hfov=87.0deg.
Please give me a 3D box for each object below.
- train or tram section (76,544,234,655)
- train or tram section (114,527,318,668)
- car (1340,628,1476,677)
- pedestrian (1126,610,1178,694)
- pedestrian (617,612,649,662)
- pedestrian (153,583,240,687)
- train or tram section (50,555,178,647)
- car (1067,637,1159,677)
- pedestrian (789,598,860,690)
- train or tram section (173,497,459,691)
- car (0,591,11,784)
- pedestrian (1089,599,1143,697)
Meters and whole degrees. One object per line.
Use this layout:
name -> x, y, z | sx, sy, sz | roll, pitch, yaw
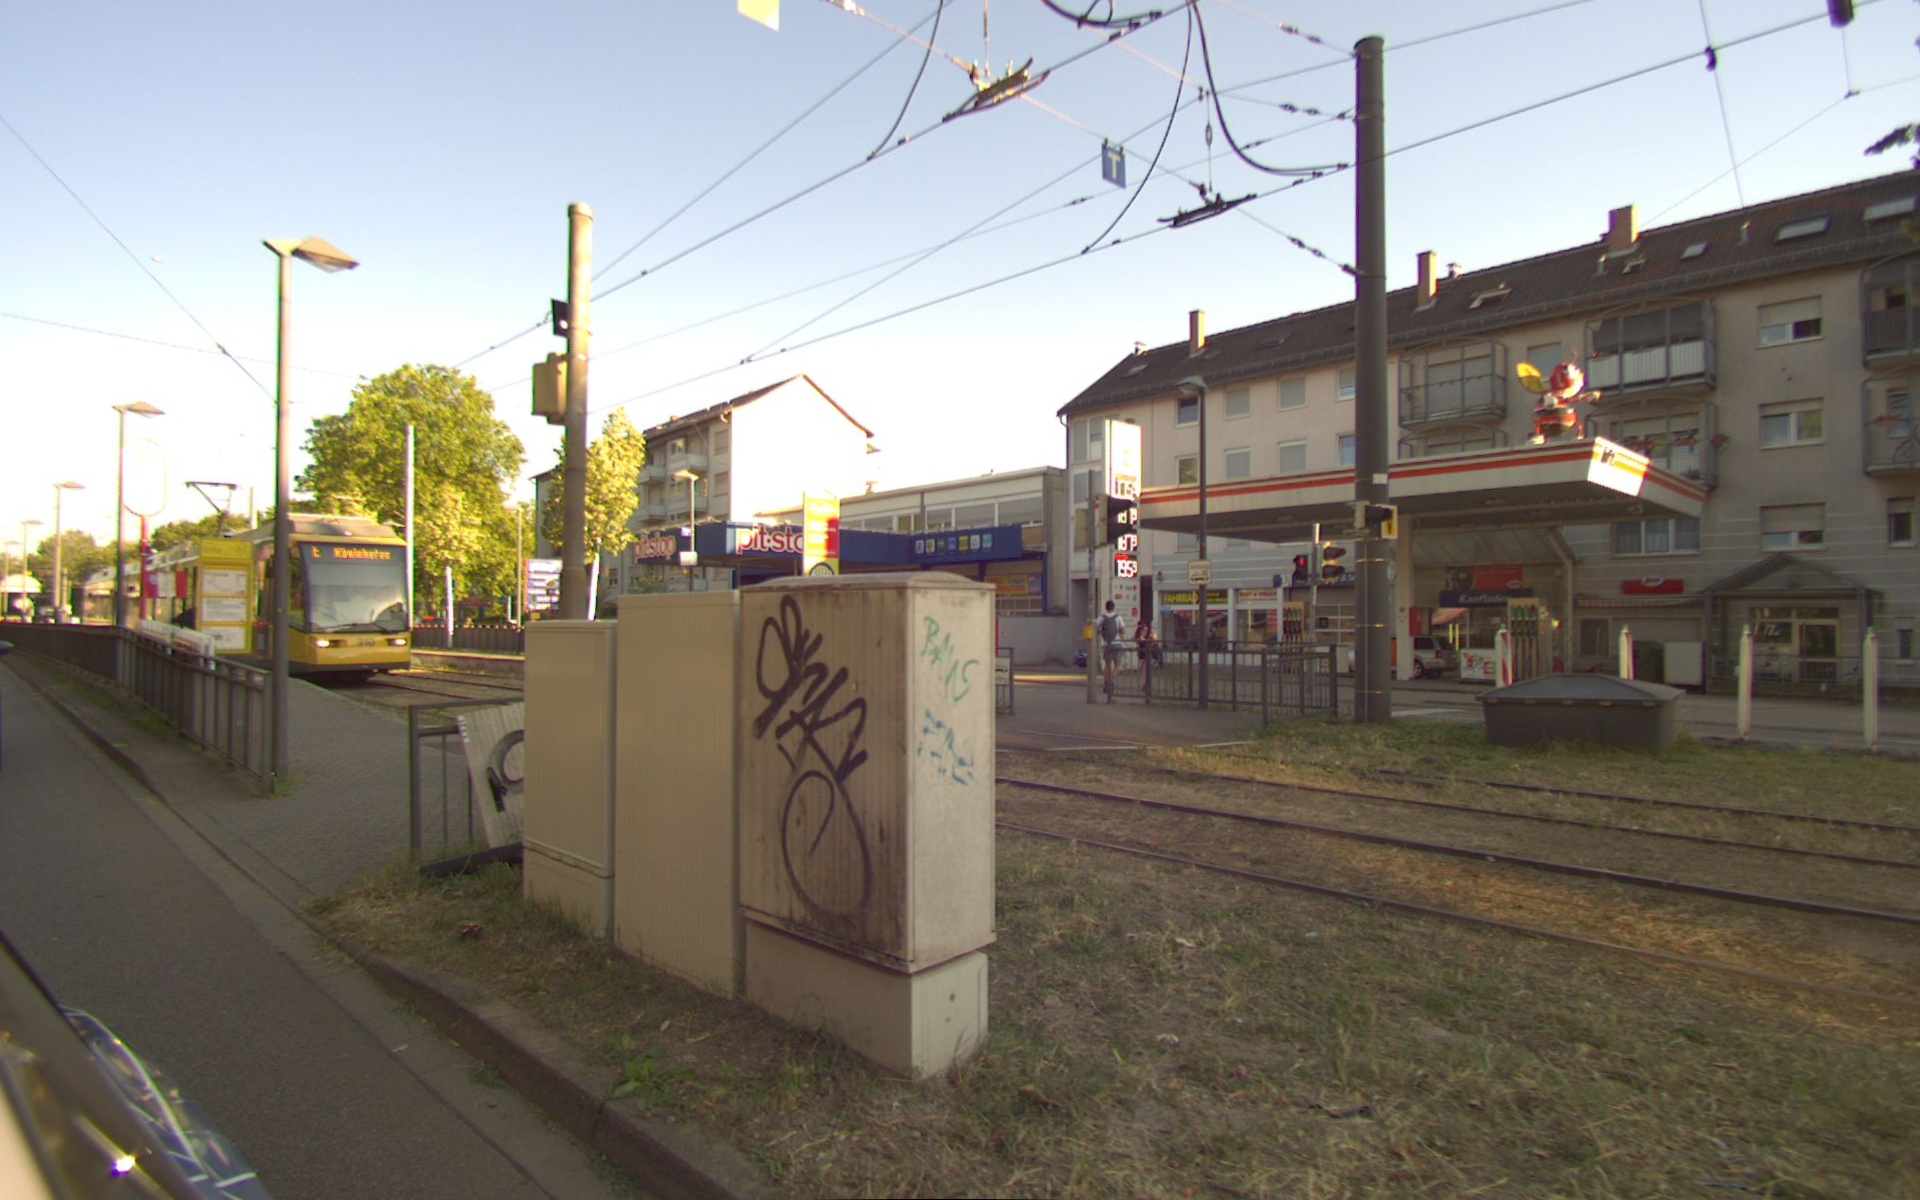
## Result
train or tram section -> -29.583, 0.072, 36.958 | 10.098, 3.544, 3.002 | 0, -3, 43
train or tram section -> -22.268, 0.018, 29.977 | 10.098, 3.544, 3.002 | 0, -3, 43
car -> 15.090, 1.744, 34.198 | 1.791, 1.535, 3.831 | 2, -3, -44
pedestrian -> 4.141, 1.112, 21.862 | 0.860, 1.760, 0.745 | -1, -2, 41
pedestrian -> -12.634, 1.415, 39.059 | 1.000, 1.896, 0.745 | -1, 0, 43
pedestrian -> -11.969, 0.536, 15.882 | 0.788, 1.562, 0.907 | -1, -1, 36
train or tram section -> -36.892, 0.116, 43.945 | 10.098, 3.544, 3.002 | 0, -3, 43
car -> 6.312, 2.298, 41.555 | 3.749, 1.535, 1.820 | 2, -2, -43
pedestrian -> -2.585, 0.812, 19.289 | 0.926, 1.666, 0.924 | -1, 0, 44
train or tram section -> -14.961, -0.025, 22.992 | 10.098, 3.544, 3.002 | 0, -3, 43
car -> -10.200, 0.785, 9.206 | 4.083, 1.628, 1.886 | -1, 0, 41
pedestrian -> 3.194, 0.972, 20.668 | 0.755, 1.947, 0.848 | -1, -2, 42
